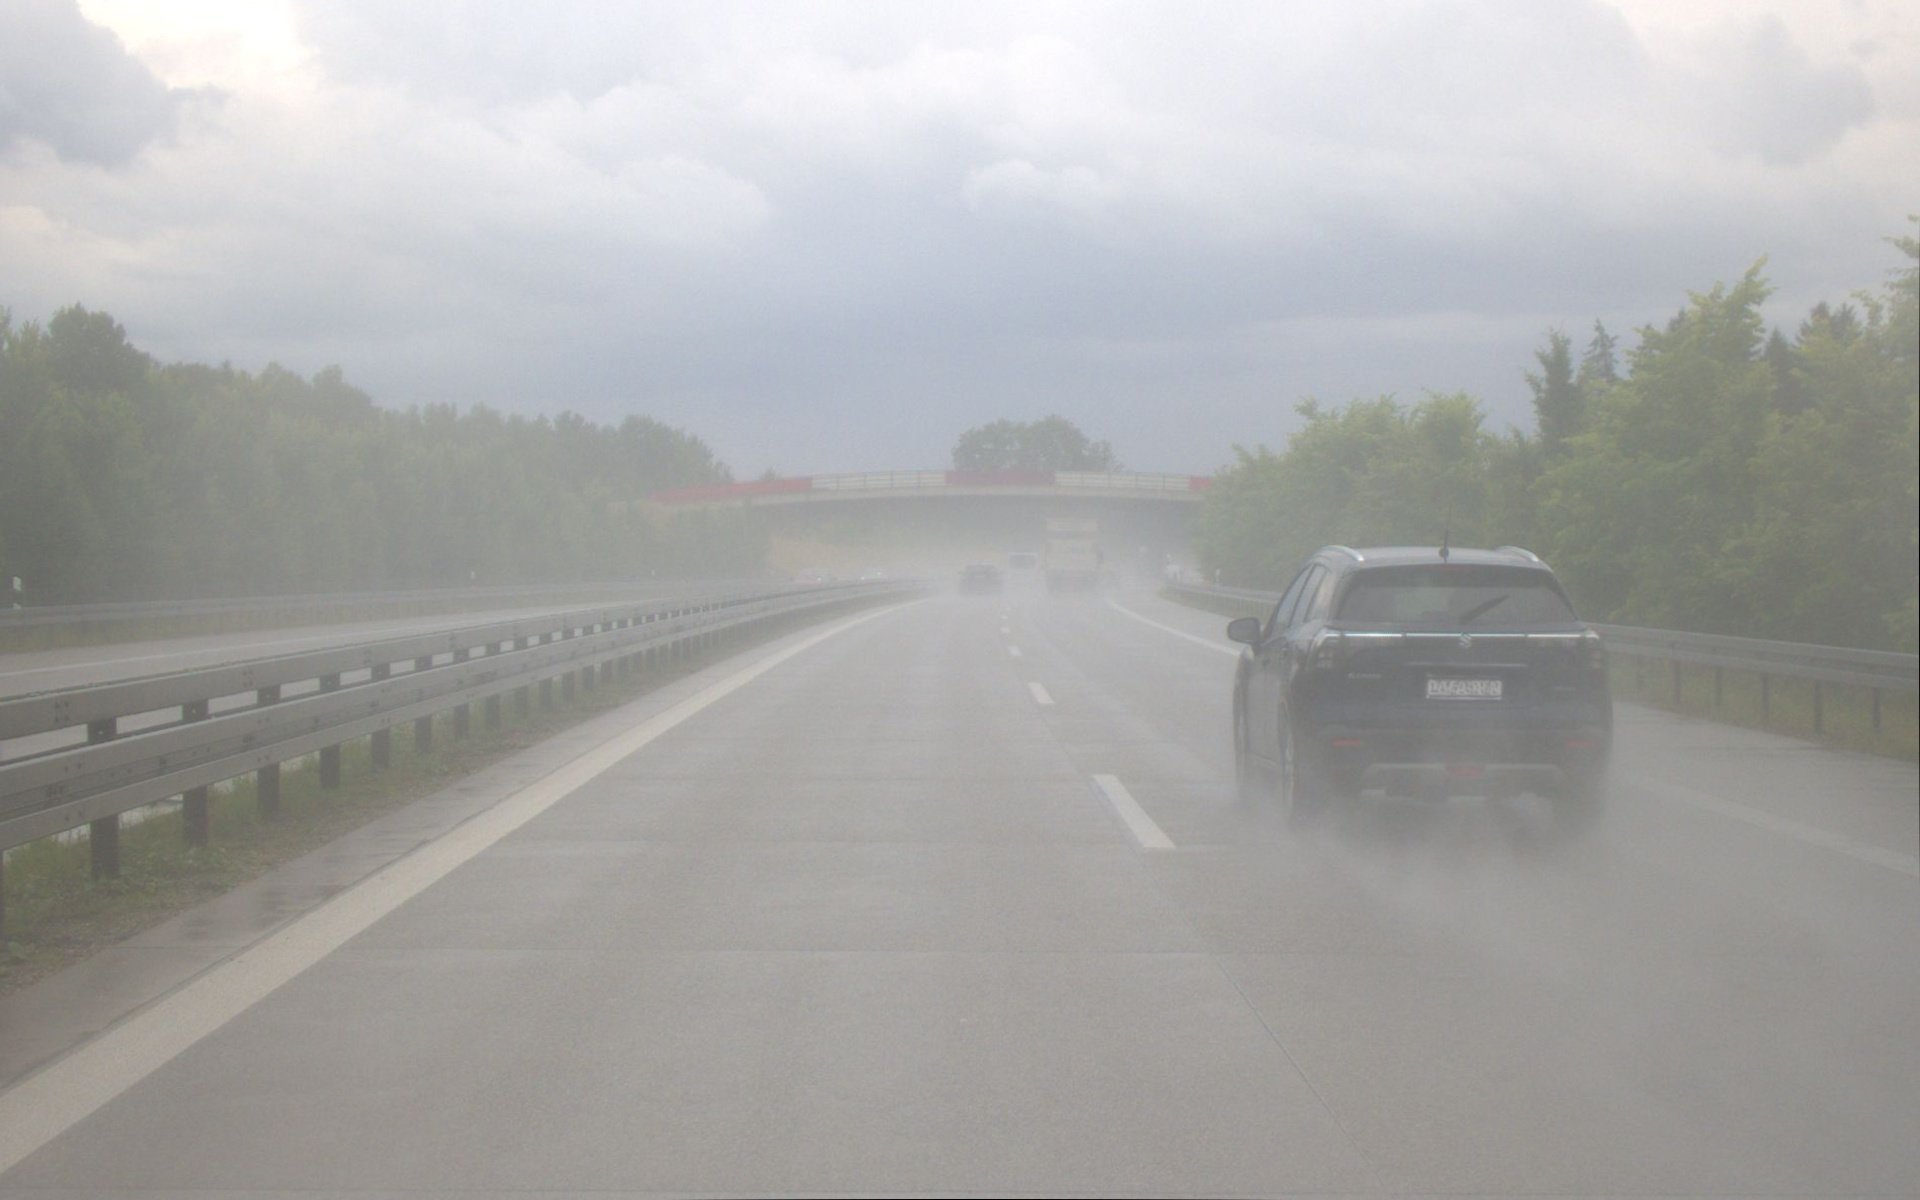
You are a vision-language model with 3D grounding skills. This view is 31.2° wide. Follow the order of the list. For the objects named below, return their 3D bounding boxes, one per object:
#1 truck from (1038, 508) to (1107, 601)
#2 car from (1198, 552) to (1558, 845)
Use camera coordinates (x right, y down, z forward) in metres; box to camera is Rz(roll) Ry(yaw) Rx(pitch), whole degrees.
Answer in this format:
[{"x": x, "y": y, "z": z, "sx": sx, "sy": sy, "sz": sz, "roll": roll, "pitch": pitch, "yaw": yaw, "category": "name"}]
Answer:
[{"x": 5.442, "y": -2.232, "z": 167.377, "sx": 3.243, "sy": 4.422, "sz": 8.246, "roll": 0, "pitch": 1, "yaw": 1, "category": "truck"}, {"x": 2.395, "y": 0.521, "z": 20.511, "sx": 1.894, "sy": 1.570, "sz": 3.631, "roll": 1, "pitch": 0, "yaw": 3, "category": "car"}]
